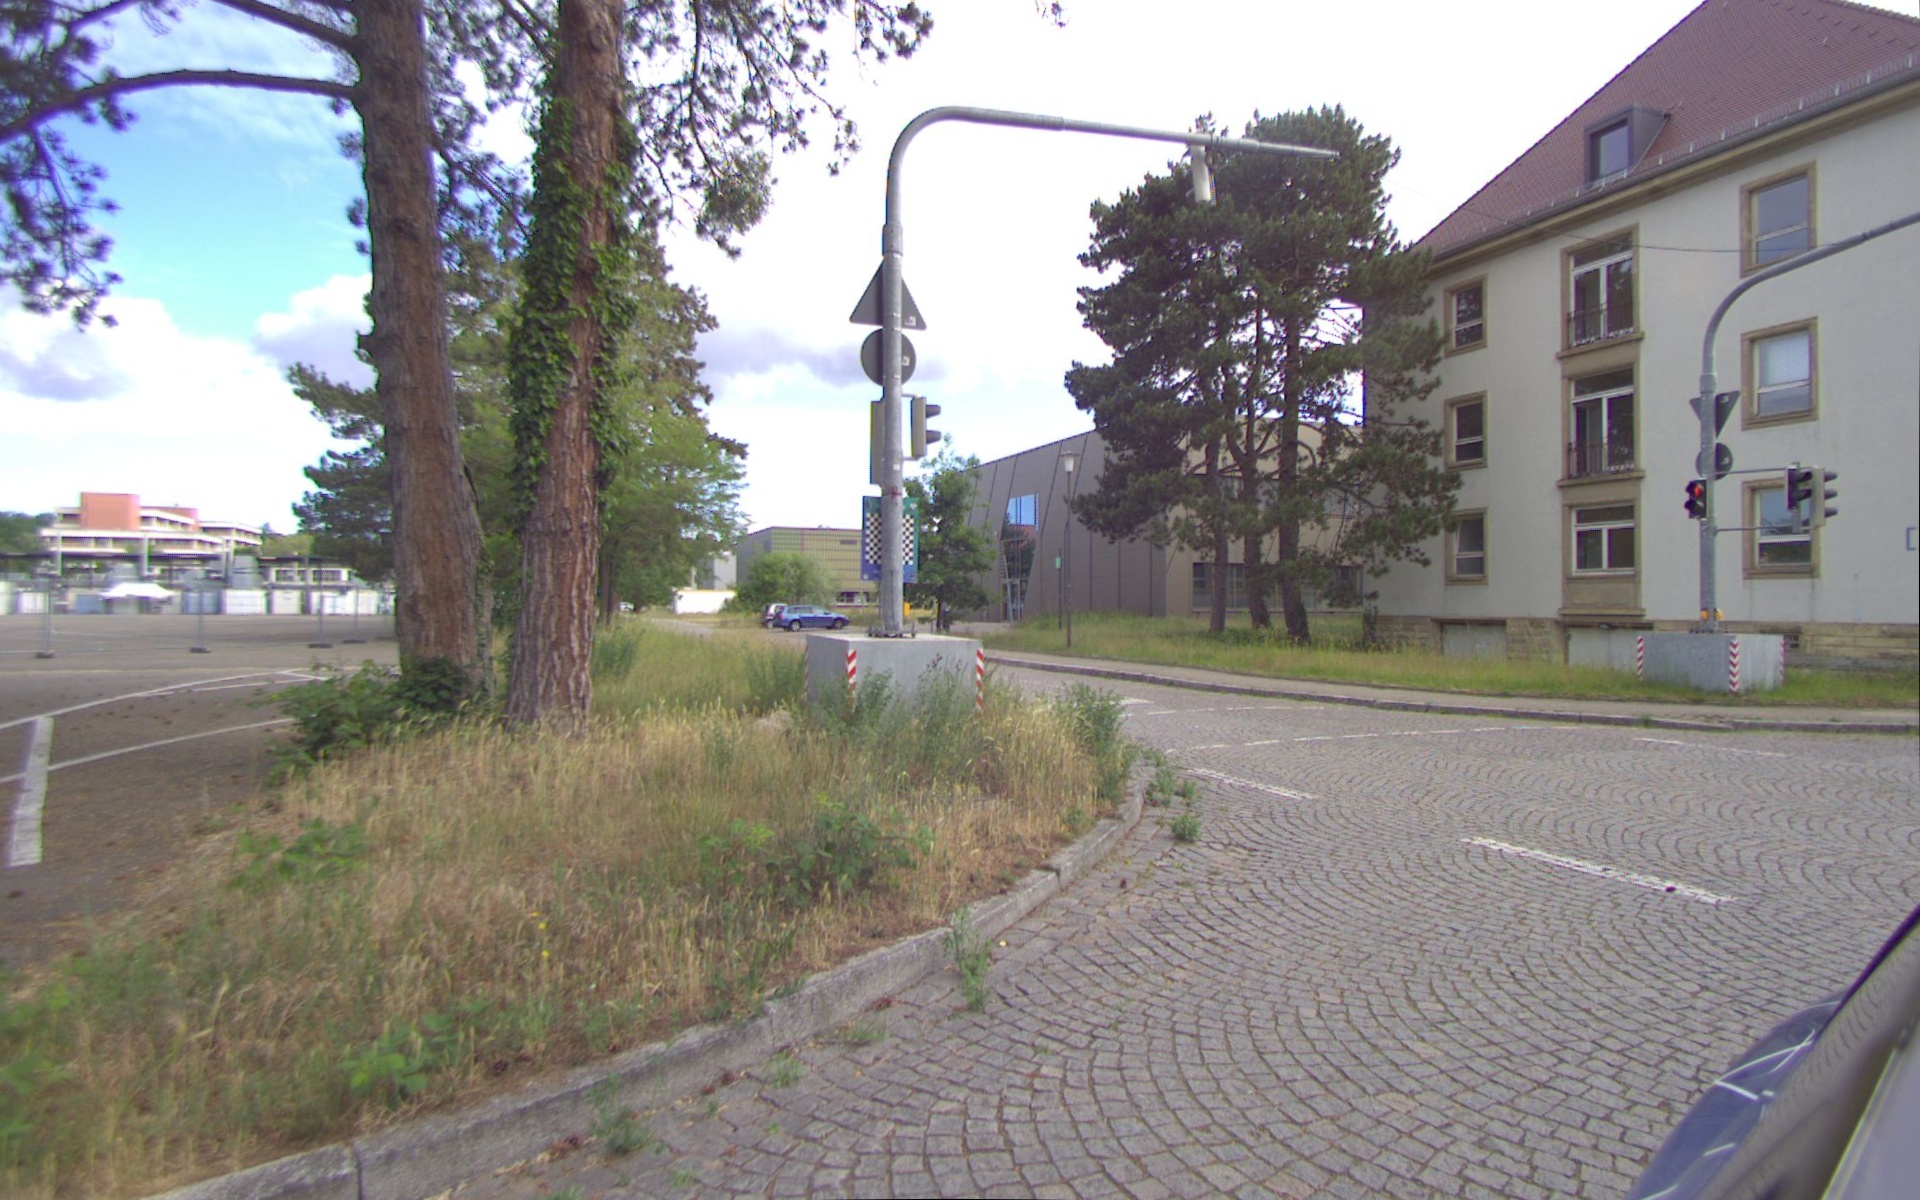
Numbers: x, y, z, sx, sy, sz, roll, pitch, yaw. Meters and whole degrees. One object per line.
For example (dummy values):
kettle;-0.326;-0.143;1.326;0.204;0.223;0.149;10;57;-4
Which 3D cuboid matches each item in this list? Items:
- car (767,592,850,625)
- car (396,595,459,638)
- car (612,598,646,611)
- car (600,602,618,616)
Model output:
car;-8.752;0.478;58.481;4.383;1.854;2.003;0;0;-24
car;-19.822;0.566;37.808;1.932;1.501;4.006;0;0;-26
car;-46.958;0.646;143.641;4.383;1.854;2.003;0;0;-24
car;-40.757;1.064;117.474;1.847;1.544;4.008;0;0;-22
